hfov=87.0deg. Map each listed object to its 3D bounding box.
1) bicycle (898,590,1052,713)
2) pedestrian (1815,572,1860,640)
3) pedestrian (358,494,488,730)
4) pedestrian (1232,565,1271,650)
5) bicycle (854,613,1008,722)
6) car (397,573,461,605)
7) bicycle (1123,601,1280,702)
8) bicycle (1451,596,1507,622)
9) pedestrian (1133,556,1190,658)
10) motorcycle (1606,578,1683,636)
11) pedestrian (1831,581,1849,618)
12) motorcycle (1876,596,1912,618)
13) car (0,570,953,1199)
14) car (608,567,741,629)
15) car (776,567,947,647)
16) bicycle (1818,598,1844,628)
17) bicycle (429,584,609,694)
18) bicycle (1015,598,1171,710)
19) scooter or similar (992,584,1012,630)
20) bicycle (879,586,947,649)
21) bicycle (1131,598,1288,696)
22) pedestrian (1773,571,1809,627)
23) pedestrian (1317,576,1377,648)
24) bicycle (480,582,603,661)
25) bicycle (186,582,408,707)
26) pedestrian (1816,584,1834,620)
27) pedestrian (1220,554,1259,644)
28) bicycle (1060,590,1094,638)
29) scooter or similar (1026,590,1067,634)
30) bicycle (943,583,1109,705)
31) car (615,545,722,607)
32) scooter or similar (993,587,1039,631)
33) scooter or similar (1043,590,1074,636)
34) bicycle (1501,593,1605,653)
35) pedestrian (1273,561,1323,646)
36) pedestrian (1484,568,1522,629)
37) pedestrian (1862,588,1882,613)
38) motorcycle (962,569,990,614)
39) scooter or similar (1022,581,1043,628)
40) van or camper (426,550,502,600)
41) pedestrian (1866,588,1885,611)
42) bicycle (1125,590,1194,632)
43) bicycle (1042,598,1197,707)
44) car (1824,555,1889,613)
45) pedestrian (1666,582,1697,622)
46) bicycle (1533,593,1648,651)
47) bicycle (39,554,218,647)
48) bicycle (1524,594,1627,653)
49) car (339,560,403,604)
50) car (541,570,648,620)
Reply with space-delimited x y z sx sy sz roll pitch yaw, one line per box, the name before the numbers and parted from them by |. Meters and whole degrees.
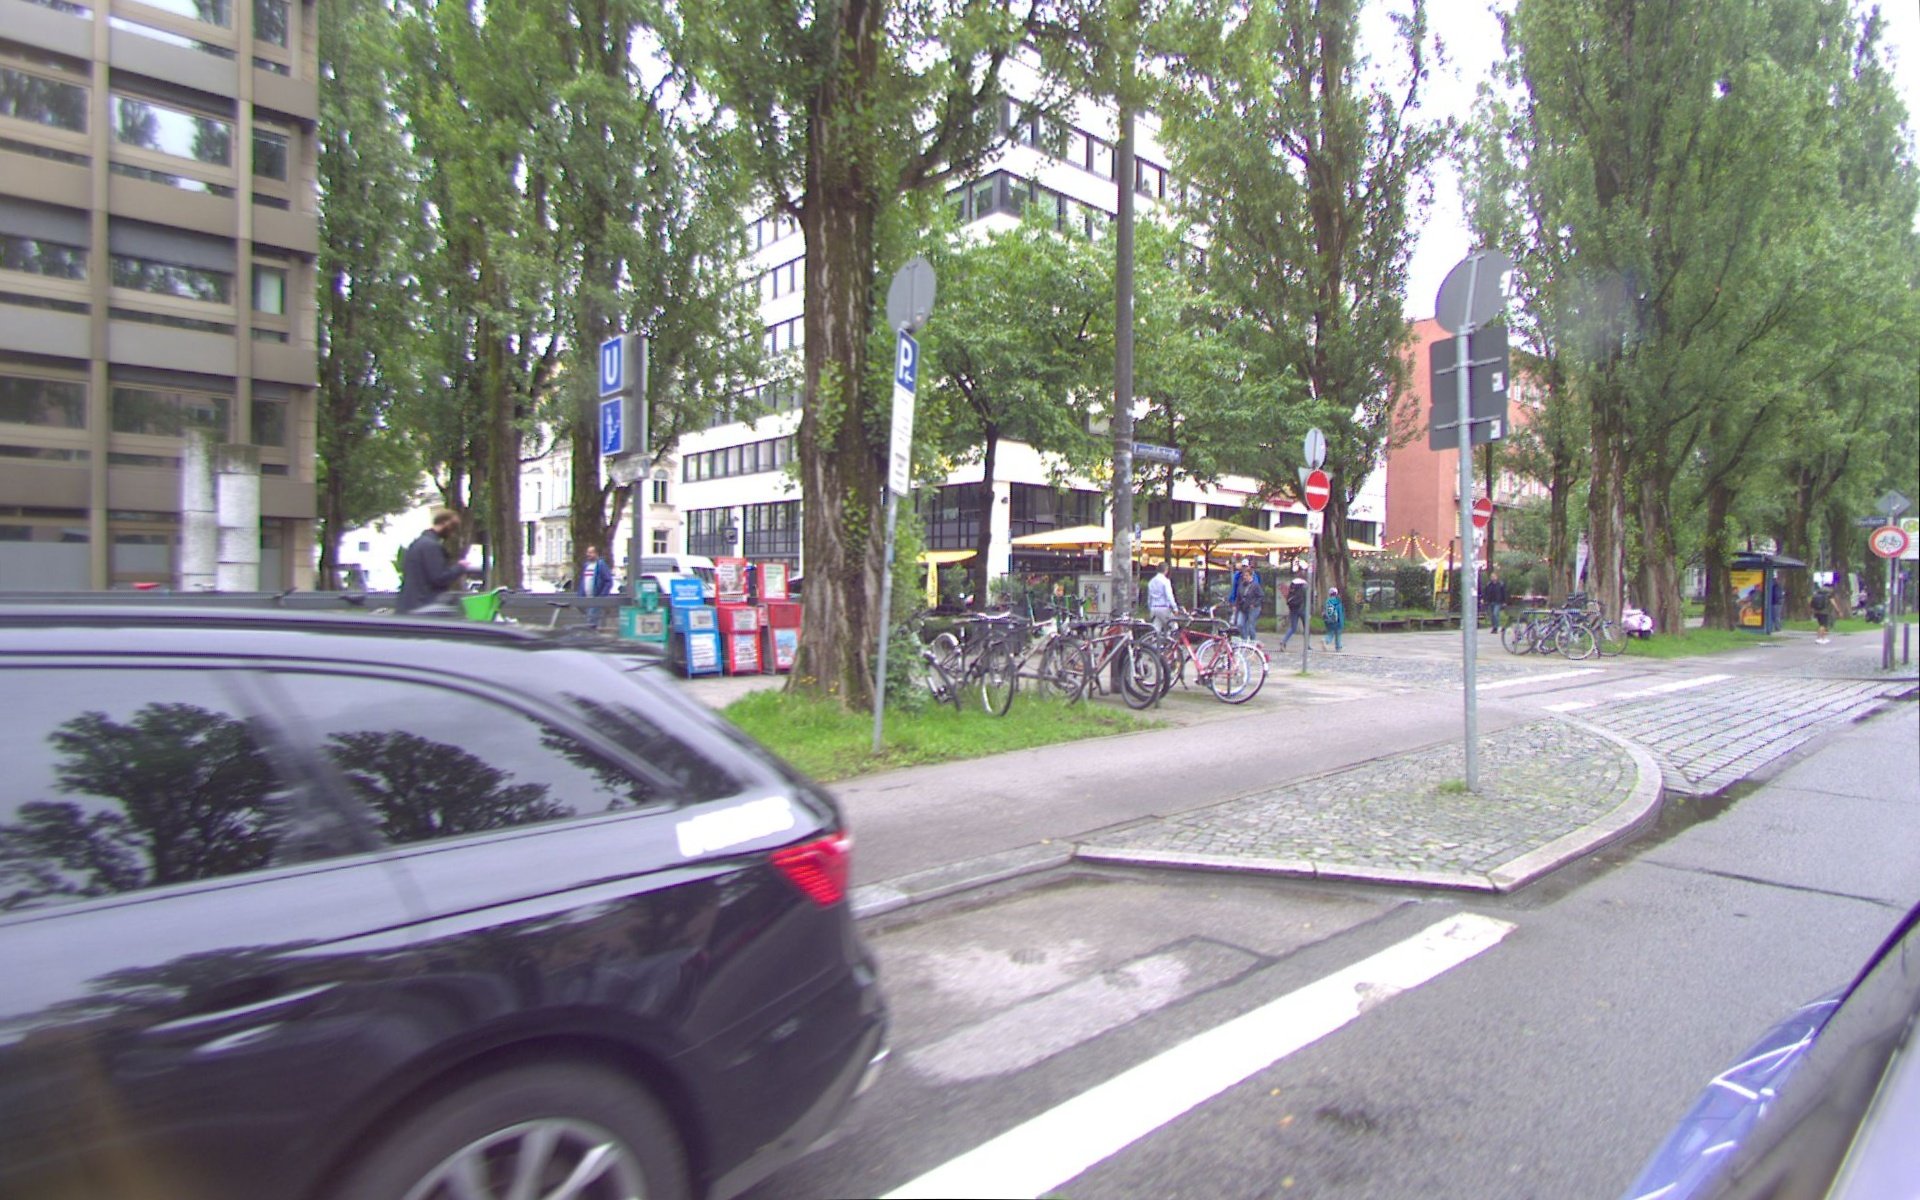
bicycle | 0.104 0.458 9.996 0.504 1.051 1.833 0 2 -36
pedestrian | 23.509 0.153 27.121 0.692 1.795 0.752 0 1 -37
pedestrian | -4.744 0.092 8.941 0.889 1.952 0.715 0 1 -40
pedestrian | 6.118 0.140 21.230 0.696 1.749 0.639 1 1 25
bicycle | -0.317 0.581 9.409 0.463 0.828 1.833 0 2 -36
car | -27.083 -0.587 51.598 1.839 1.517 3.864 -2 3 -44
bicycle | 2.775 0.563 11.819 0.467 1.064 1.874 0 0 -39
bicycle | 19.917 0.327 38.878 0.610 0.924 1.798 0 1 -43
pedestrian | 3.525 0.110 17.713 0.658 1.746 0.712 0 1 -42
motorcycle | 16.846 0.147 24.974 0.618 1.209 1.991 1 6 5
pedestrian | 40.889 -0.045 47.041 0.477 1.714 0.517 0 1 -37
motorcycle | 41.825 0.292 45.331 0.461 0.950 1.654 1 1 16
car | -2.249 0.691 1.537 4.369 1.445 1.754 -1 0 -40
car | -8.694 -0.122 30.625 1.986 1.721 4.663 -1 2 -43
car | -2.406 0.087 23.978 1.895 1.721 4.192 -1 2 -43
bicycle | 31.052 0.460 36.064 1.734 1.035 0.552 0 1 -45
bicycle | -5.005 0.413 11.530 1.832 1.174 0.588 0 1 -30
bicycle | 1.424 0.543 11.155 0.467 1.063 1.875 0 2 -39
scooter or similar | 1.176 0.193 28.739 0.321 1.289 1.359 1 0 -8
bicycle | -0.951 0.320 19.927 0.466 1.151 1.877 0 1 -33
bicycle | 3.018 0.531 12.384 1.870 1.063 0.468 2 2 44
pedestrian | 28.088 -0.053 34.208 0.887 1.866 0.756 1 1 41
pedestrian | 7.918 0.231 20.721 0.755 1.437 0.820 1 1 -26
bicycle | -7.215 0.345 17.476 1.836 1.292 0.721 0 1 -41
bicycle | -6.798 0.411 10.465 0.585 1.174 1.842 1 1 40
pedestrian | 40.568 0.087 47.471 0.477 1.714 0.517 0 1 -37
pedestrian | 6.121 -0.031 22.162 0.696 1.932 0.639 1 1 25
bicycle | 3.008 0.336 25.835 0.546 1.157 1.753 1 1 17
scooter or similar | 2.330 0.311 27.239 1.229 1.158 0.327 0 1 -41
bicycle | 0.643 0.408 10.564 0.504 1.119 1.928 0 2 -41
car | -12.819 -1.056 44.231 2.031 2.522 5.836 2 0 -43
scooter or similar | 1.569 0.243 28.443 1.234 1.195 0.388 1 0 17
scooter or similar | 2.590 0.321 26.478 0.365 1.158 1.418 1 1 24
bicycle | 11.641 0.424 19.914 0.482 1.107 1.703 0 1 -36
pedestrian | 6.964 0.065 20.870 0.676 1.722 0.665 0 0 -26
pedestrian | 15.602 -0.052 29.077 0.635 1.714 0.735 0 1 -37
pedestrian | 62.315 0.043 69.152 0.754 1.714 0.890 0 1 -37
motorcycle | 0.446 -0.232 29.032 0.756 1.211 1.991 2 0 0
scooter or similar | 2.025 0.105 28.167 0.323 1.289 1.244 1 1 17
van or camper | -32.367 -1.644 65.923 2.424 3.085 7.302 0 1 -43
pedestrian | 67.987 -0.054 75.133 0.754 1.714 0.890 0 1 -37
bicycle | 5.150 0.273 26.238 0.544 1.035 1.759 0 1 -43
bicycle | 1.766 0.544 11.455 0.467 1.063 1.875 0 2 -39
car | 50.133 -0.877 56.544 5.900 3.055 2.195 0 1 -43
pedestrian | 31.511 0.059 44.186 0.754 1.714 0.890 0 1 -37
bicycle | 13.038 0.424 20.978 0.482 1.107 1.983 0 1 -36
bicycle | -11.173 -0.007 13.663 1.836 1.174 0.587 0 1 -41
bicycle | 12.323 0.442 20.303 0.482 1.107 1.703 0 1 -36
car | -34.792 -1.123 59.716 2.055 2.462 5.598 -2 2 -43
car | -12.650 -0.212 34.916 1.967 1.602 4.333 -1 2 -43
